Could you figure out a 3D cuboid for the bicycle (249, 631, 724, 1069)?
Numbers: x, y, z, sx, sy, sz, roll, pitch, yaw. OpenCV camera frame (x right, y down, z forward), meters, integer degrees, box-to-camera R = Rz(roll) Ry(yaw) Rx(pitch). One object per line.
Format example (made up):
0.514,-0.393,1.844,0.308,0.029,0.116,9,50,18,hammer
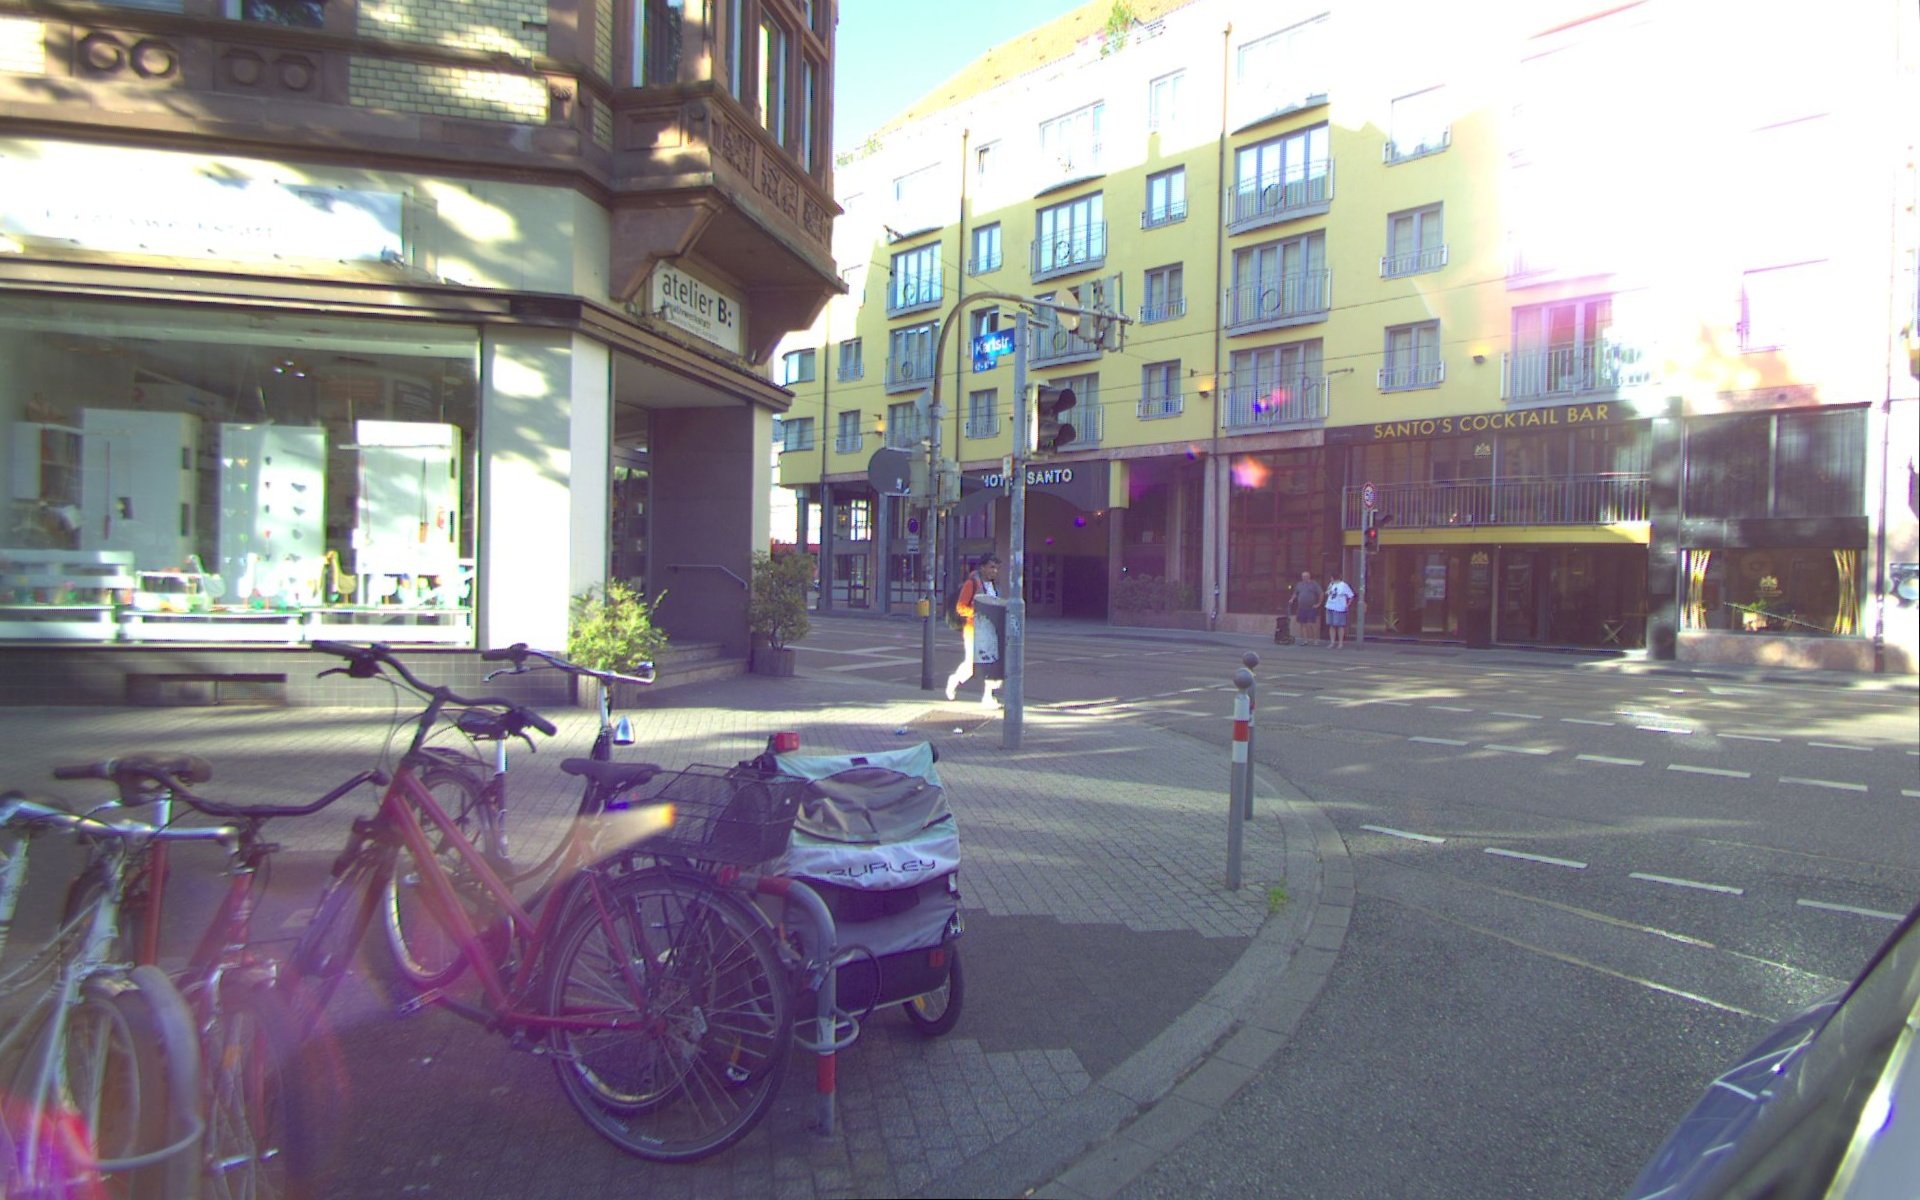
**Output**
-1.568,0.723,3.359,1.459,1.106,0.570,3,4,21,bicycle

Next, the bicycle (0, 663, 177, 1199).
-2.101,0.776,2.052,1.928,1.106,0.419,5,5,40,bicycle

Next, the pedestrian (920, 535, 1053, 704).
0.302,0.177,10.938,1.159,1.701,1.001,2,1,20,pedestrian

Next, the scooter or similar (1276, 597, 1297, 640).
7.957,0.446,24.679,0.356,0.989,0.417,2,4,42,scooter or similar

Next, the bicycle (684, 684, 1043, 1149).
-0.341,0.848,3.161,0.724,1.039,1.000,1,1,-33,bicycle

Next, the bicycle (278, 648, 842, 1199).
-1.070,0.745,2.678,1.458,1.106,0.422,3,4,19,bicycle

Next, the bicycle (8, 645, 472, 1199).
-1.804,0.763,2.399,1.928,1.106,0.419,5,5,40,bicycle

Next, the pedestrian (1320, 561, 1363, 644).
8.914,0.048,23.629,0.733,1.862,0.716,2,5,44,pedestrian

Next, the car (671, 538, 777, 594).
-12.250,-1.729,52.829,5.065,2.792,2.054,0,1,-45,car

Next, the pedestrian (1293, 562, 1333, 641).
8.543,0.015,24.498,0.677,1.862,0.716,2,5,44,pedestrian
